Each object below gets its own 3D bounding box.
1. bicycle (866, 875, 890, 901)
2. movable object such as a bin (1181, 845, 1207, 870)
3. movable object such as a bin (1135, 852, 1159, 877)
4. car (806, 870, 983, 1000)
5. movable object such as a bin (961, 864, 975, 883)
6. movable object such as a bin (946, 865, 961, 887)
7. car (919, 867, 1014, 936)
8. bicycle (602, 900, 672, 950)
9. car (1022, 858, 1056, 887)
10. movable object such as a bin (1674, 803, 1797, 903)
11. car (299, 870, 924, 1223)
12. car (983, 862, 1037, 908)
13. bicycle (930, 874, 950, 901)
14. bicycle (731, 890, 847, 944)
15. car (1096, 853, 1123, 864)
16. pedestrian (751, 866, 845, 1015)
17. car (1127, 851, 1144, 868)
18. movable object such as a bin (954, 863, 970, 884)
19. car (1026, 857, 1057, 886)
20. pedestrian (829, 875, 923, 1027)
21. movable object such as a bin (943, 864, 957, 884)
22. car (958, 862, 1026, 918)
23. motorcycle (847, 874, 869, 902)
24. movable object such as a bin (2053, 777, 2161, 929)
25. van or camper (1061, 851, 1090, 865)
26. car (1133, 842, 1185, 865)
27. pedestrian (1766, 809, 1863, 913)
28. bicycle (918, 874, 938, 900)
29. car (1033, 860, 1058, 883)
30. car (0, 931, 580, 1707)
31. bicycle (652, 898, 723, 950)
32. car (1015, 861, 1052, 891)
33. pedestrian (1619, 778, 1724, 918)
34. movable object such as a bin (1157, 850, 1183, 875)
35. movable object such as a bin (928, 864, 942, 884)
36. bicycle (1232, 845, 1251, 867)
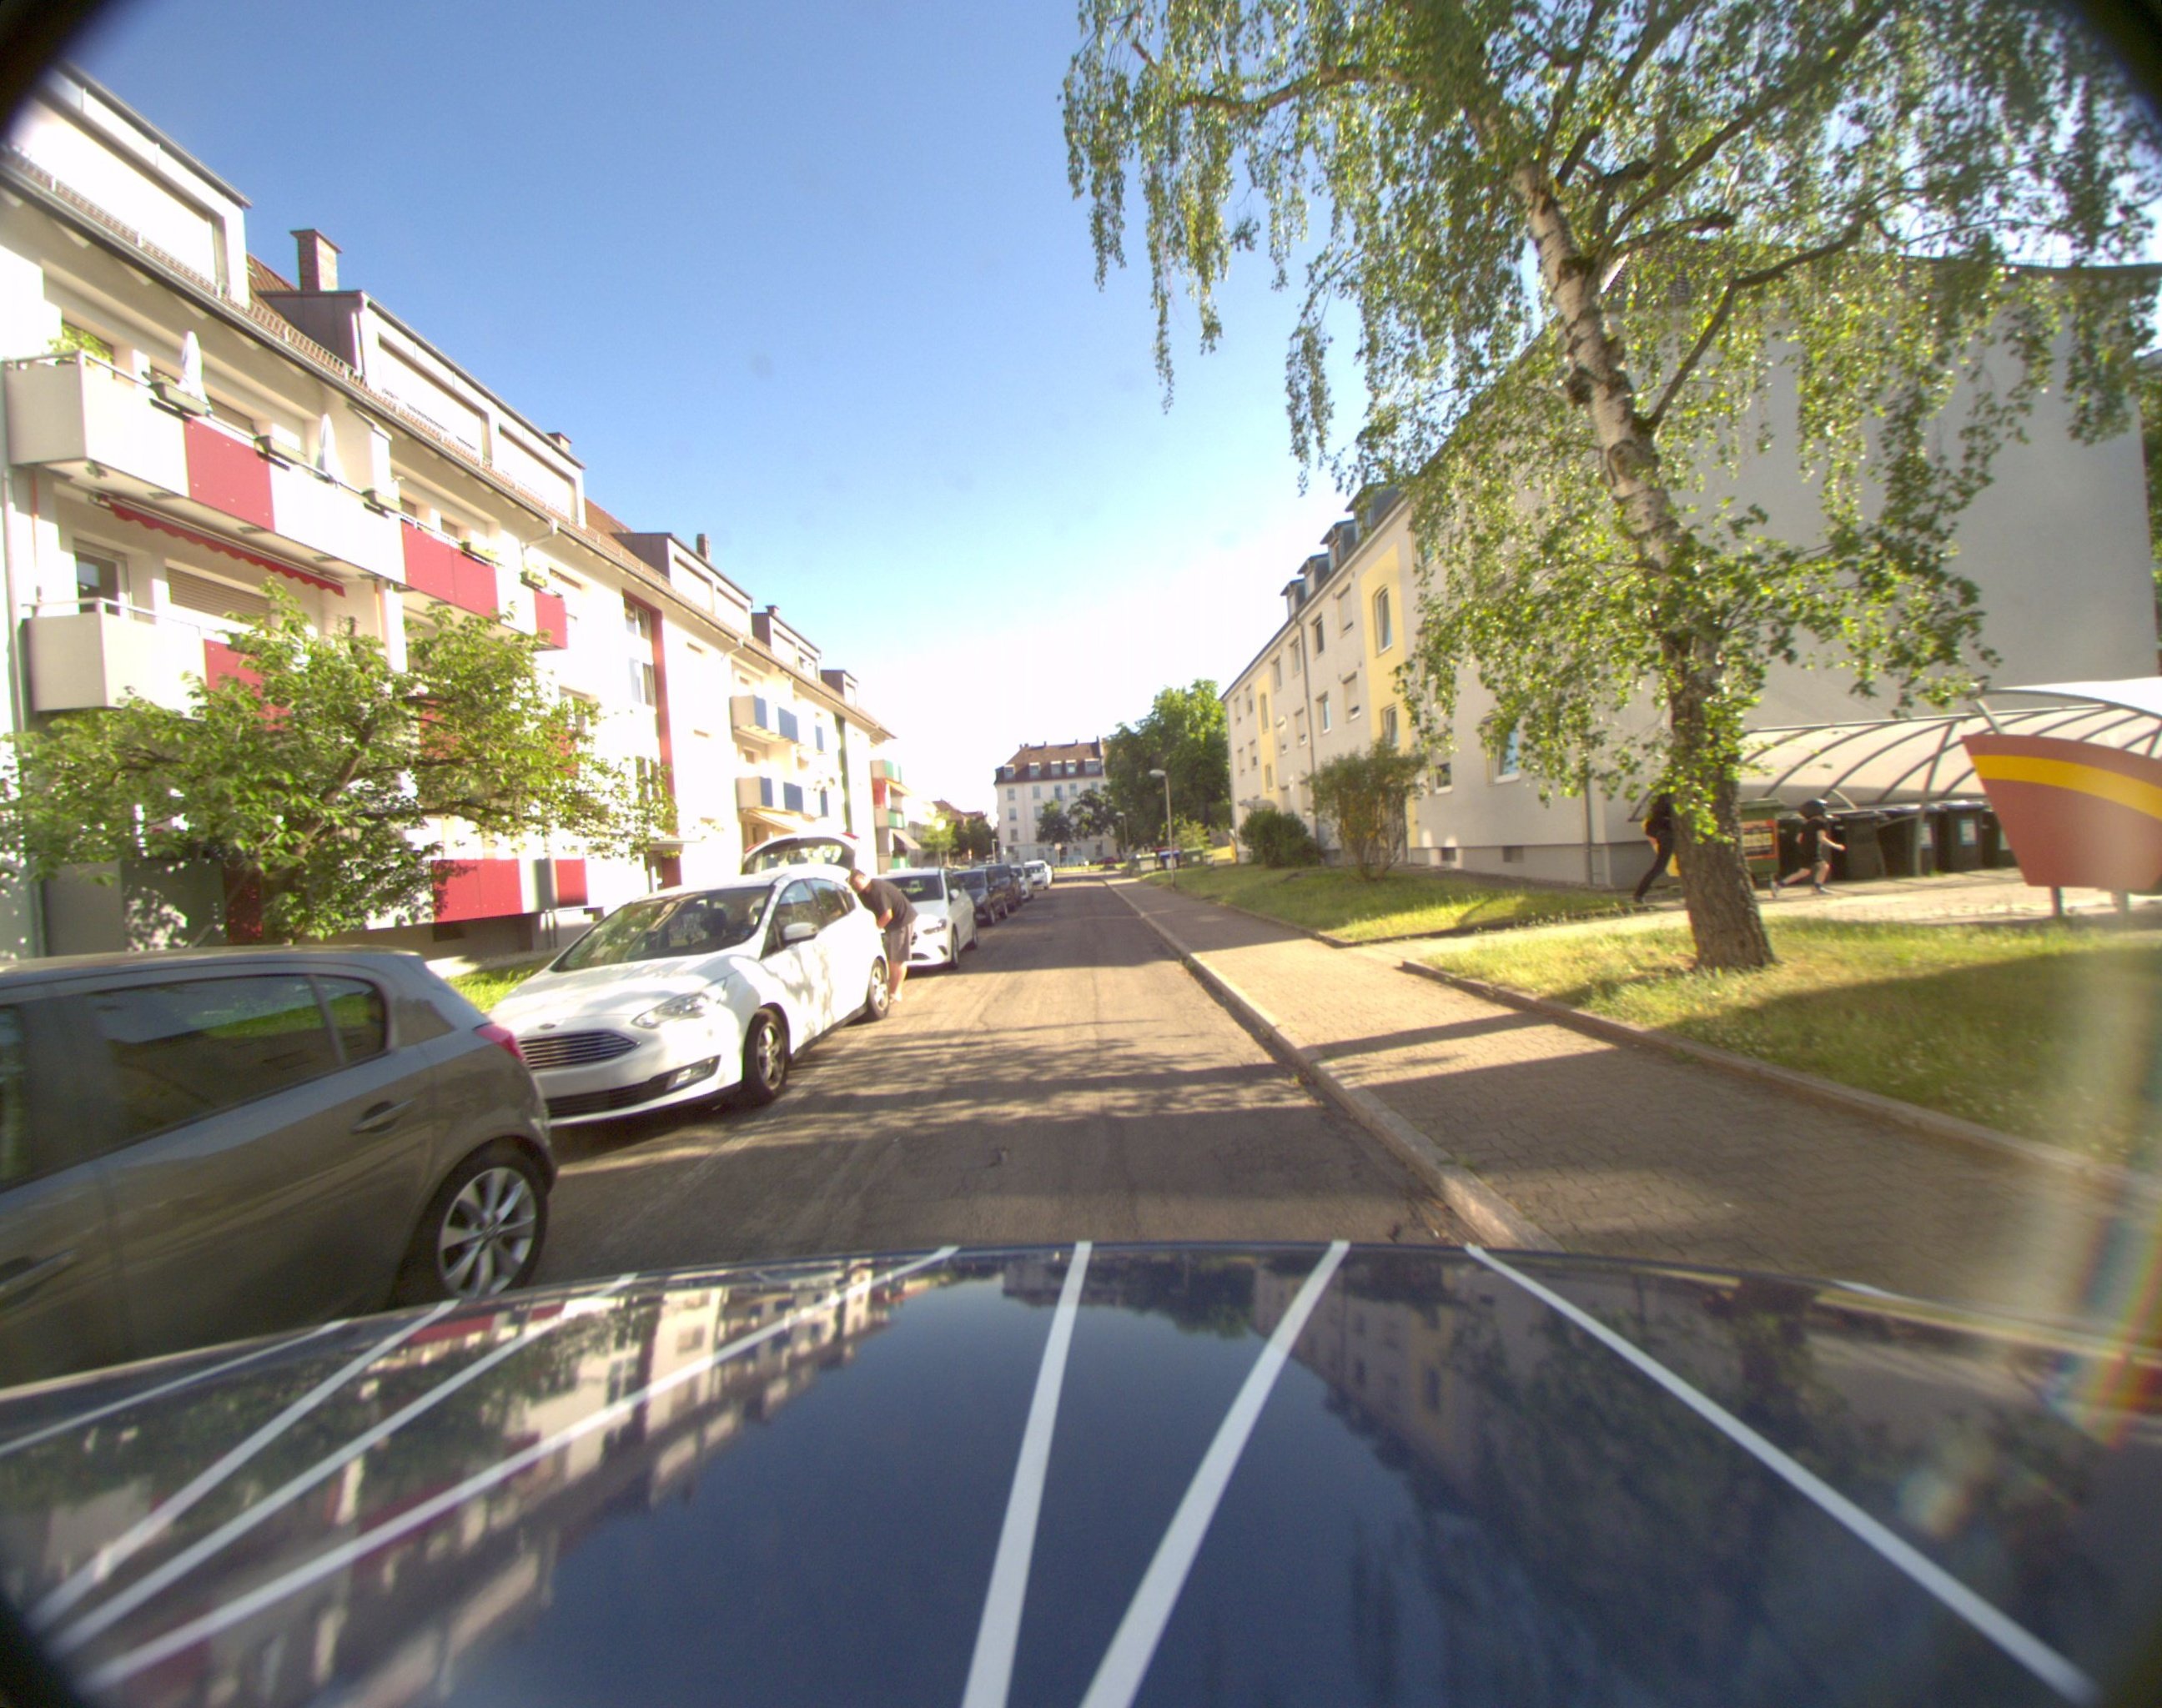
[{"bbox_3d":[-9.680,1.605,36.281,0.598,1.109,1.873,-3,0,-1],"label":"bicycle"},{"bbox_3d":[7.346,0.201,49.553,1.363,1.445,1.073,-8,0,0],"label":"movable object such as a bin"},{"bbox_3d":[4.296,0.681,49.464,1.318,1.451,1.198,-8,0,0],"label":"movable object such as a bin"},{"bbox_3d":[-2.762,1.124,12.332,1.777,1.496,4.480,-5,0,-2],"label":"car"},{"bbox_3d":[-8.448,1.448,56.826,0.921,1.390,0.866,-3,0,-2],"label":"movable object such as a bin"},{"bbox_3d":[-8.884,1.547,52.946,0.866,1.439,0.922,-3,0,-4],"label":"movable object such as a bin"},{"bbox_3d":[-2.979,1.207,20.586,1.650,1.441,4.061,-6,0,3],"label":"car"},{"bbox_3d":[-11.011,1.742,18.934,0.521,1.031,1.975,-3,0,1],"label":"bicycle"},{"bbox_3d":[-2.621,1.138,48.103,1.805,1.583,4.581,-5,0,-1],"label":"car"},{"bbox_3d":[9.955,-0.016,11.594,1.087,1.398,0.813,-4,0,1],"label":"movable object such as a bin"},{"bbox_3d":[-3.030,1.090,6.546,1.998,1.603,4.996,-6,0,2],"label":"car"},{"bbox_3d":[-2.797,1.190,30.721,1.717,1.501,3.853,-7,0,-1],"label":"car"},{"bbox_3d":[-6.569,1.528,35.469,0.546,1.163,1.873,-2,0,1],"label":"bicycle"},{"bbox_3d":[-7.034,1.519,18.361,2.429,1.123,0.879,-3,0,6],"label":"bicycle"},{"bbox_3d":[4.304,0.719,114.771,3.996,1.477,1.722,-3,0,2],"label":"car"},{"bbox_3d":[-3.347,0.998,9.036,0.821,1.677,0.604,-3,0,0],"label":"pedestrian"},{"bbox_3d":[5.891,0.573,82.512,1.678,1.645,3.305,-3,0,4],"label":"car"},{"bbox_3d":[-8.497,1.406,54.355,0.921,1.439,0.866,-3,0,-2],"label":"movable object such as a bin"},{"bbox_3d":[-2.836,1.213,55.308,1.855,1.790,4.253,-7,0,-1],"label":"car"},{"bbox_3d":[-2.272,1.039,8.509,0.741,1.566,0.879,-3,0,0],"label":"pedestrian"},{"bbox_3d":[-9.838,1.497,57.026,0.866,1.439,0.922,-3,0,-4],"label":"movable object such as a bin"},{"bbox_3d":[-2.876,1.124,25.417,1.728,1.569,4.352,-3,0,-1],"label":"car"},{"bbox_3d":[-10.681,1.601,36.460,0.442,1.231,1.977,-3,0,0],"label":"motorcycle"},{"bbox_3d":[10.319,-0.057,6.867,1.391,1.328,1.228,-6,0,0],"label":"movable object such as a bin"},{"bbox_3d":[-0.876,0.591,115.098,4.355,1.852,2.000,-3,0,-2],"label":"van or camper"},{"bbox_3d":[7.836,-0.059,76.788,4.992,2.002,2.000,-4,0,3],"label":"car"},{"bbox_3d":[9.821,0.093,10.187,0.687,1.309,0.575,-3,1,1],"label":"pedestrian"},{"bbox_3d":[-7.280,1.544,36.215,0.579,1.126,1.873,-2,0,-1],"label":"bicycle"},{"bbox_3d":[-2.818,1.366,60.931,1.728,1.528,3.951,-6,0,-2],"label":"car"},{"bbox_3d":[-3.024,1.141,1.221,1.698,1.482,3.984,-6,0,-1],"label":"car"},{"bbox_3d":[-9.693,1.694,18.803,0.521,1.042,2.288,-2,0,1],"label":"bicycle"},{"bbox_3d":[-2.622,1.206,42.790,1.695,1.410,4.097,-6,0,-1],"label":"car"},{"bbox_3d":[8.089,-0.077,10.440,0.808,1.813,0.718,-3,1,1],"label":"pedestrian"},{"bbox_3d":[5.782,0.523,49.532,1.358,1.451,1.082,-8,0,0],"label":"movable object such as a bin"},{"bbox_3d":[-10.950,1.515,56.874,0.866,1.439,0.922,-3,0,-4],"label":"movable object such as a bin"},{"bbox_3d":[9.716,0.111,46.016,0.642,1.243,2.009,-5,0,0],"label":"bicycle"}]
